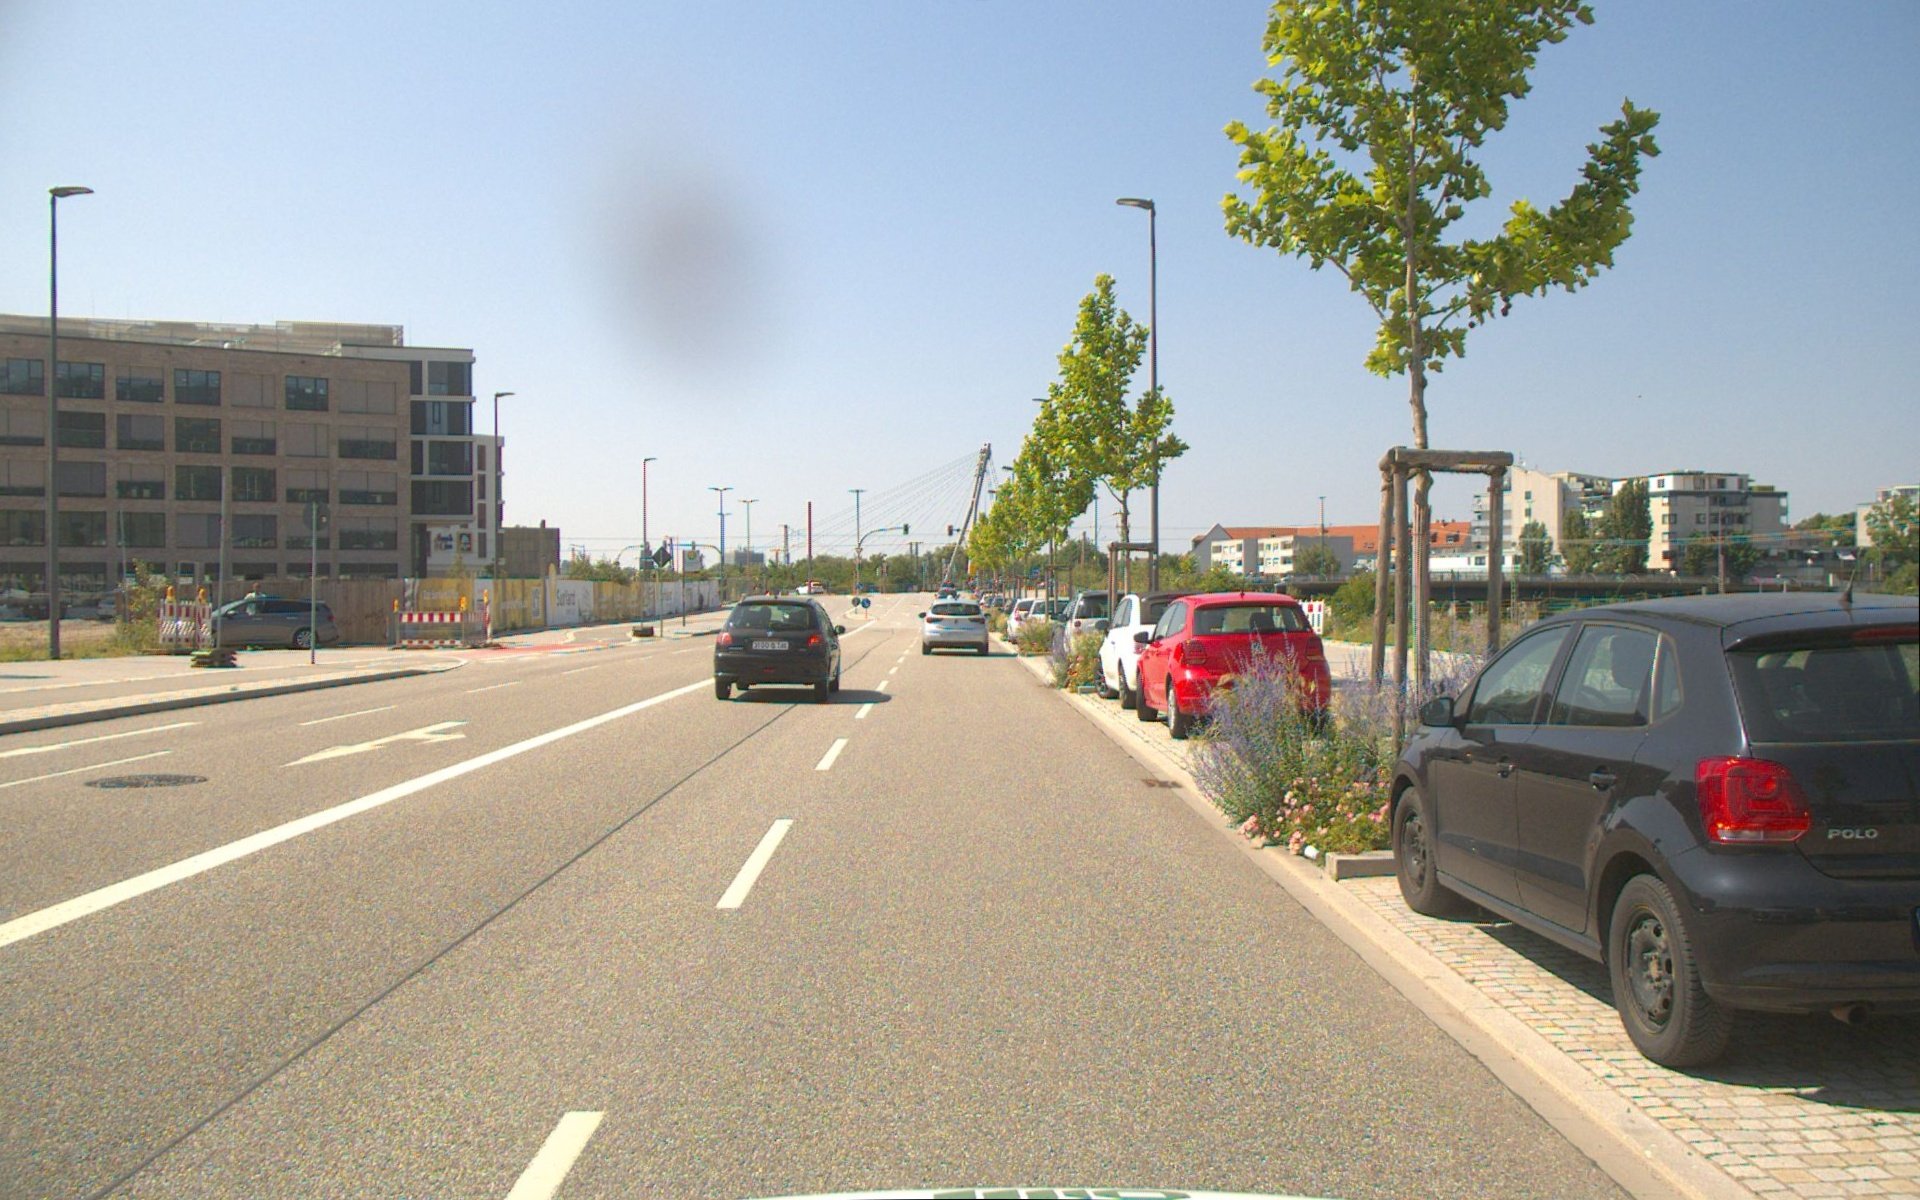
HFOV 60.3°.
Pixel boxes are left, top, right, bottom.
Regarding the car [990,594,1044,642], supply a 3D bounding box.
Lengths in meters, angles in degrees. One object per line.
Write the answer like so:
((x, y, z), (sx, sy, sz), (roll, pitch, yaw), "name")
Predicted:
((1.879, 0.603, 55.330), (1.710, 1.536, 4.001), (-1, -1, 1), "car")

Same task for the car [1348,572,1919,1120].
((2.936, 0.647, 6.640), (1.600, 1.454, 4.239), (-2, 0, -2), "car")

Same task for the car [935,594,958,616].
((-1.012, 0.364, 125.374), (1.742, 1.596, 4.000), (0, 1, 0), "car")

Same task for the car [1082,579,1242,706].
((2.715, 0.592, 22.943), (1.683, 1.551, 3.641), (-2, -2, -1), "car")

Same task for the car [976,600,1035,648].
((1.534, 0.762, 55.007), (1.869, 1.505, 4.159), (0, 0, 2), "car")

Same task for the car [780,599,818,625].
((-8.864, 0.654, 91.128), (1.669, 1.376, 4.455), (-1, 0, -1), "car")

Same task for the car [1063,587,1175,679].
((2.919, 0.582, 31.165), (1.869, 1.605, 4.159), (0, 0, 2), "car")

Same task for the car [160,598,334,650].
((-20.061, 0.659, 46.614), (4.200, 1.341, 1.975), (-1, 0, -36), "car")

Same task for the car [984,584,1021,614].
((2.228, -0.019, 88.344), (1.670, 1.488, 3.952), (-2, -1, -2), "car")

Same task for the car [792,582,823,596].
((-18.522, -1.354, 200.530), (1.842, 1.678, 3.945), (1, 0, -38), "car")

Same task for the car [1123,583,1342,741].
((2.867, 0.592, 18.199), (1.682, 1.476, 4.000), (1, 1, -1), "car")

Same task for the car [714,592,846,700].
((-2.579, 0.612, 24.351), (1.586, 1.441, 3.726), (-1, 0, -1), "car")

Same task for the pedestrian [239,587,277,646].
((-20.550, 0.480, 48.428), (0.670, 1.713, 0.756), (1, -1, 12), "pedestrian")

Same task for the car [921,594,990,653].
((-0.097, 0.584, 44.264), (1.741, 1.467, 4.000), (-1, 0, 1), "car")
